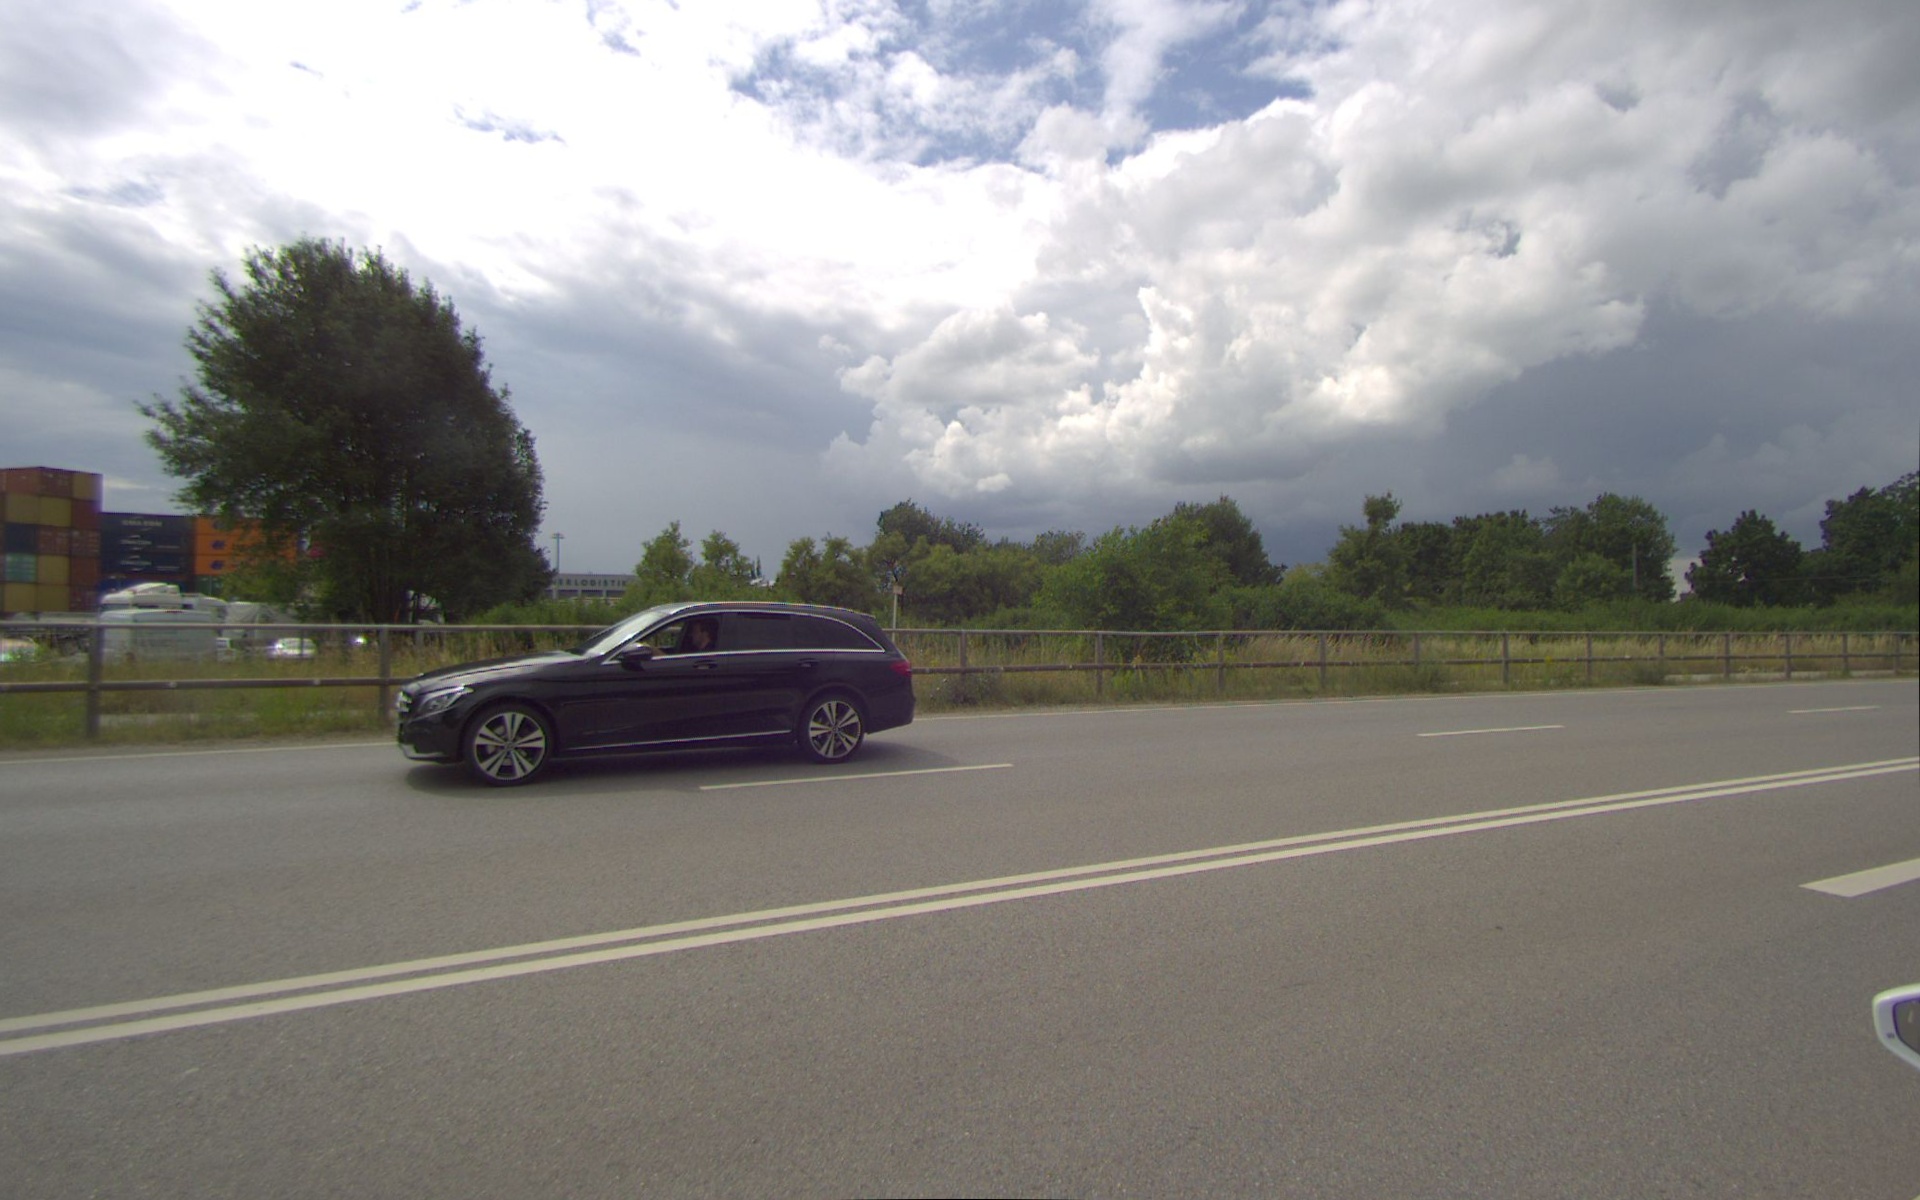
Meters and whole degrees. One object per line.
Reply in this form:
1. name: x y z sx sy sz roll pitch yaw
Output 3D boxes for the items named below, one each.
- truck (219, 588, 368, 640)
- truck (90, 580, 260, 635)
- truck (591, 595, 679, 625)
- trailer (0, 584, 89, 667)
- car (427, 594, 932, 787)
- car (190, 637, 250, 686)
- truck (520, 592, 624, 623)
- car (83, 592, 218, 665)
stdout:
1. truck: -36.920 0.777 55.913 2.601 2.718 6.656 1 -1 20
2. truck: -41.437 0.423 53.309 2.601 2.718 6.654 1 -1 22
3. truck: -24.696 0.747 76.453 6.148 2.040 1.987 2 -1 -26
4. trailer: -51.317 1.299 52.196 2.154 4.350 9.382 1 -1 16
5. car: -2.573 0.732 9.504 4.302 1.461 1.800 1 -1 -30
6. car: -30.015 2.454 40.725 1.827 1.742 3.957 1 -1 -37
7. truck: -28.741 0.570 74.497 7.039 2.040 1.987 2 -1 -26
8. car: -22.449 0.737 27.796 4.514 1.758 1.991 2 0 39
